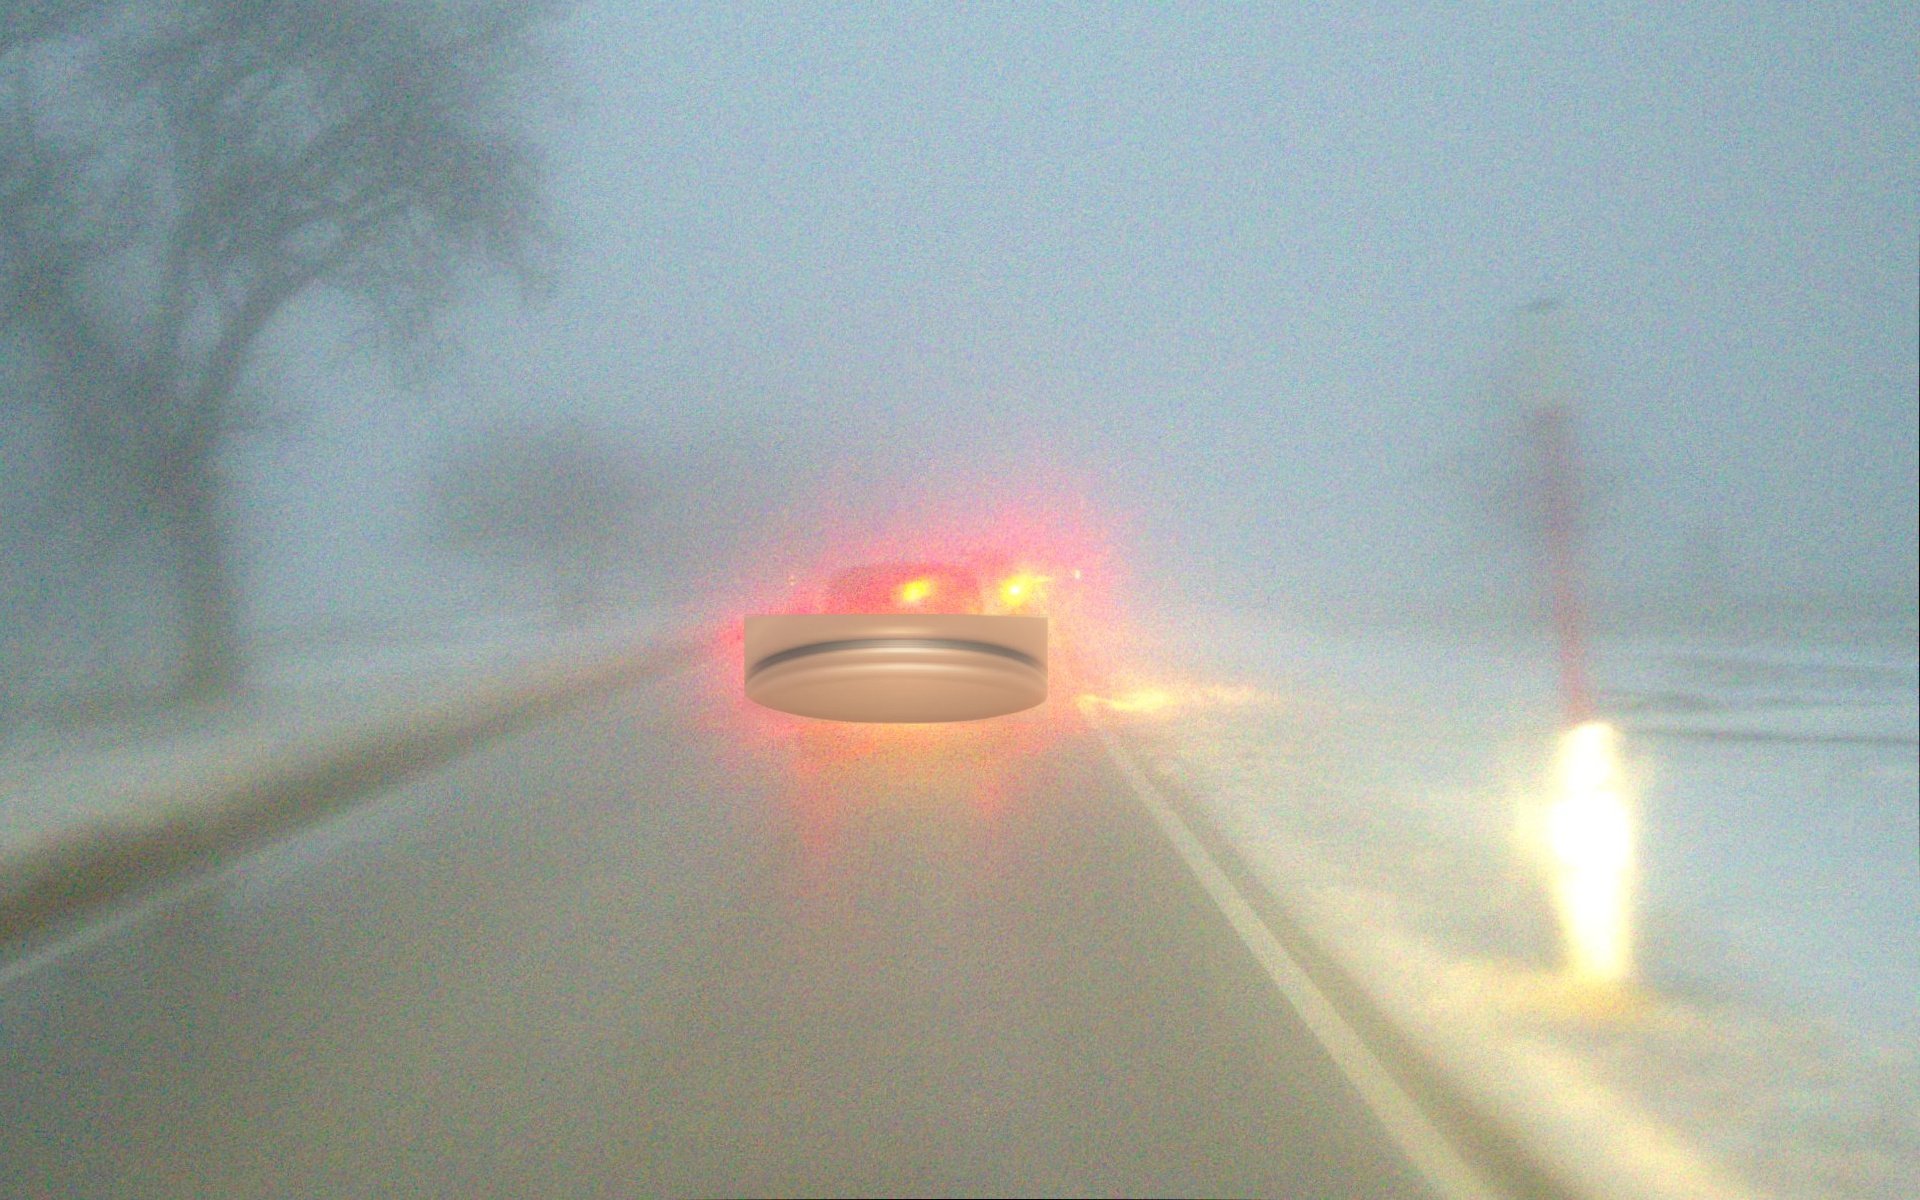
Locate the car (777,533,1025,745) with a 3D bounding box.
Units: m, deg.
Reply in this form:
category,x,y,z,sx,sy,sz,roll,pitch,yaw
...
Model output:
category,x,y,z,sx,sy,sz,roll,pitch,yaw
car,-0.491,0.263,26.110,1.707,1.458,4.000,1,0,-2
